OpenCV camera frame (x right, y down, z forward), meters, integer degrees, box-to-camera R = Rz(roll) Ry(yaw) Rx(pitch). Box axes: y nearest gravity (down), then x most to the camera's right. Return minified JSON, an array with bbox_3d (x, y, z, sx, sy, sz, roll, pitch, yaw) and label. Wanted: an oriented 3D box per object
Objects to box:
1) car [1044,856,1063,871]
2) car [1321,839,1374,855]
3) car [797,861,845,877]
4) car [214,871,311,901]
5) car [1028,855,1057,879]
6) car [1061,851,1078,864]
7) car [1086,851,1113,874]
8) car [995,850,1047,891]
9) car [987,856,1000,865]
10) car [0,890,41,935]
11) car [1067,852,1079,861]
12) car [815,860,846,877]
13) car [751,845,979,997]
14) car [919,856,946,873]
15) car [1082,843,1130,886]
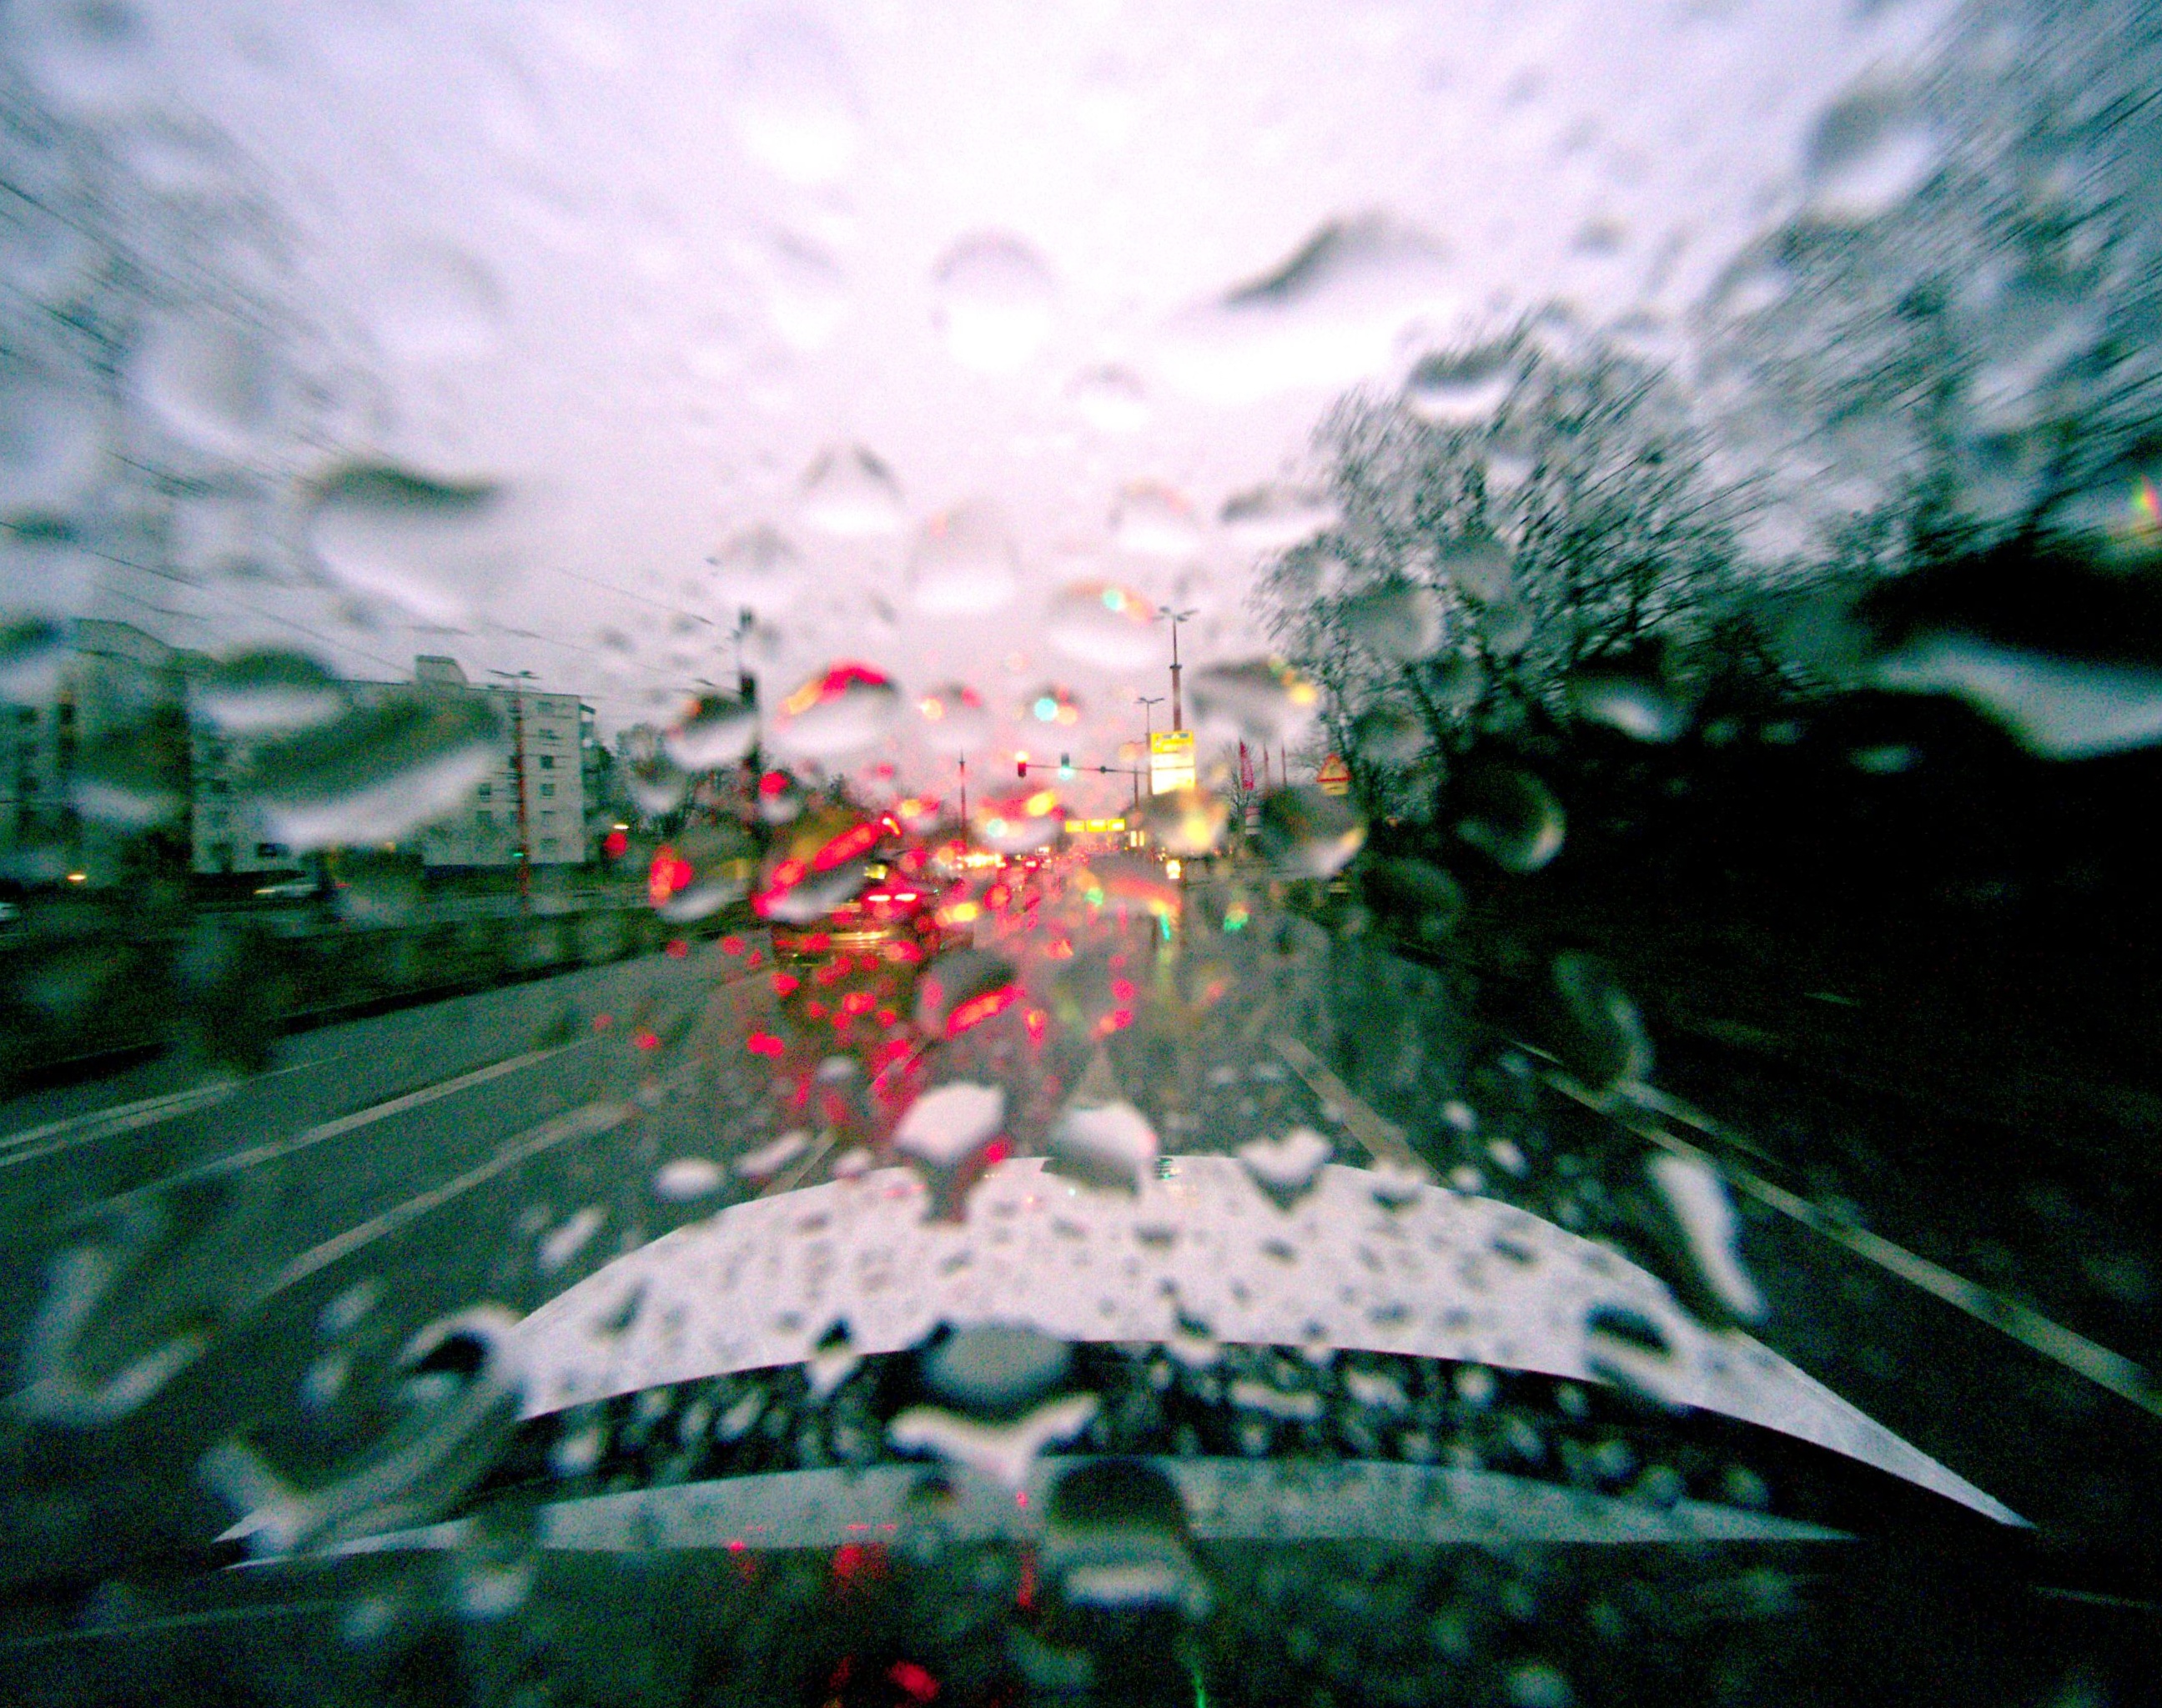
[{"bbox_3d":[-2.612,0.937,78.117,1.499,1.339,4.002,-2,0,2],"label":"car"},{"bbox_3d":[27.019,-0.703,82.626,4.722,1.376,1.883,-2,0,1],"label":"car"},{"bbox_3d":[-27.829,1.635,87.136,1.974,1.529,4.513,-2,0,39],"label":"car"},{"bbox_3d":[-51.514,2.010,51.367,4.015,1.640,1.521,-2,0,-33],"label":"car"},{"bbox_3d":[-2.919,0.960,61.838,1.815,1.648,4.002,-2,0,2],"label":"car"},{"bbox_3d":[-1.410,0.425,100.872,1.815,1.504,4.002,-2,0,2],"label":"car"},{"bbox_3d":[1.423,0.654,61.616,1.986,1.662,4.001,0,-1,1],"label":"car"},{"bbox_3d":[-2.593,0.687,36.050,1.815,1.648,4.002,-2,0,2],"label":"car"},{"bbox_3d":[-15.196,1.117,141.413,1.764,1.586,4.033,-2,0,1],"label":"car"},{"bbox_3d":[-40.219,2.153,28.405,4.449,1.544,1.836,-2,0,-26],"label":"car"},{"bbox_3d":[-1.437,0.464,143.393,1.986,1.577,4.001,0,-1,2],"label":"car"},{"bbox_3d":[-24.220,1.374,78.911,1.612,1.495,4.018,-2,0,1],"label":"car"},{"bbox_3d":[-2.706,0.755,11.383,1.815,1.648,4.468,-2,0,2],"label":"car"},{"bbox_3d":[-14.535,0.999,79.902,1.851,1.581,4.079,-2,0,0],"label":"car"},{"bbox_3d":[1.073,0.410,34.345,1.815,1.648,4.468,-2,0,2],"label":"car"}]
